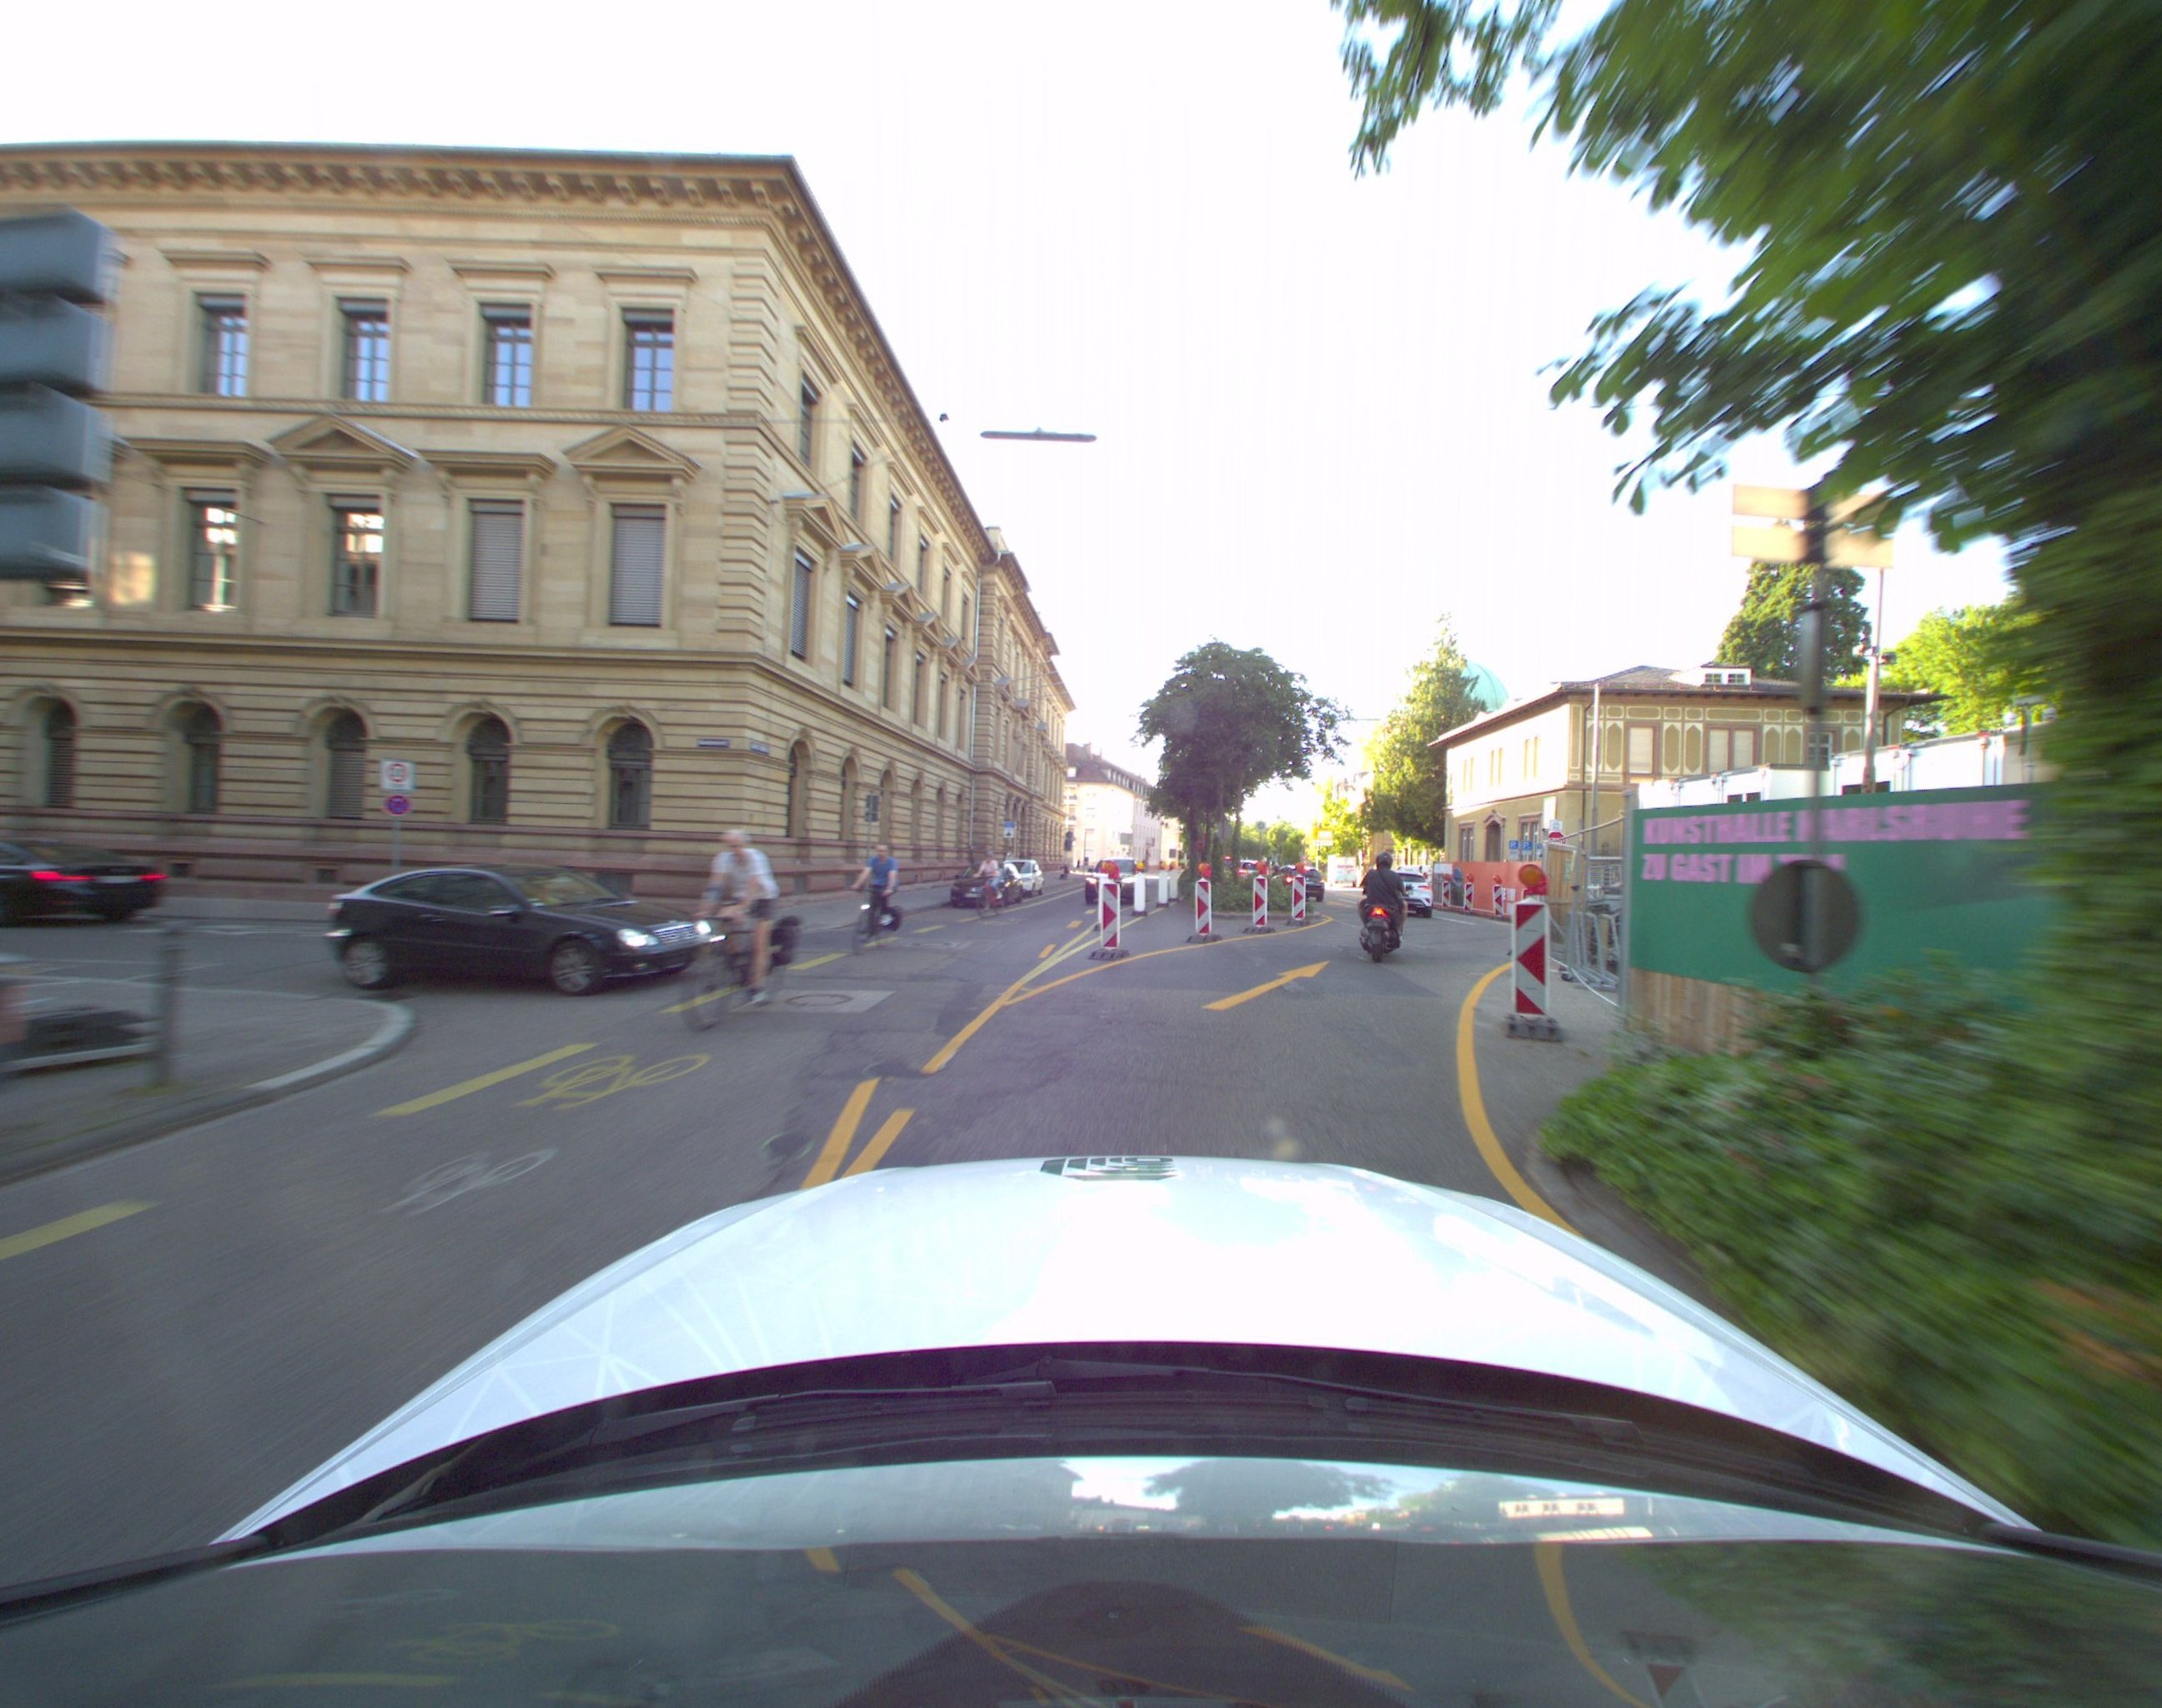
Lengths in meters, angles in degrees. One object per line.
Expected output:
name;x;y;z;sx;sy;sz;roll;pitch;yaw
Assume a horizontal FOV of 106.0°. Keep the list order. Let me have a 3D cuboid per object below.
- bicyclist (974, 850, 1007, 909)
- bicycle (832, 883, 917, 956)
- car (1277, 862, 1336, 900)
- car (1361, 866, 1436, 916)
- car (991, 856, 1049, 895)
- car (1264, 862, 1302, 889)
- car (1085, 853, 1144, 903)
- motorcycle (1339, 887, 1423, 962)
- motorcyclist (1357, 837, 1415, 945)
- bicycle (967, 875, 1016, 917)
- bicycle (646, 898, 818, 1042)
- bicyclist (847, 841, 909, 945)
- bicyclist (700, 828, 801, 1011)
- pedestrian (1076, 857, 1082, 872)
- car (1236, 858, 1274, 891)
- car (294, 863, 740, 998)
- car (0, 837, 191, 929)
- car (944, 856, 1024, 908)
bicyclist;-2.456;0.683;22.168;0.623;1.554;0.735;1;0;17
bicycle;-3.311;1.018;13.238;0.529;1.035;1.913;1;0;12
car;9.787;1.123;35.603;1.831;1.463;4.065;3;0;6
car;10.511;1.158;27.239;1.837;1.480;4.073;0;0;14
car;-2.503;0.872;34.481;1.986;1.528;4.186;1;0;2
car;13.720;1.433;55.428;1.831;1.699;4.063;3;0;5
car;1.230;0.835;30.232;1.986;1.695;4.401;1;0;2
motorcycle;4.783;1.073;12.909;0.789;1.066;1.736;2;-1;35
motorcyclist;4.900;0.578;13.080;0.651;1.650;0.655;2;-1;36
bicycle;-2.419;1.124;22.172;0.529;1.035;2.045;1;0;17
bicycle;-3.182;1.001;7.688;0.580;1.035;2.131;1;0;3
bicyclist;-3.266;0.601;13.158;0.624;1.613;0.872;1;0;12
bicyclist;-3.168;0.598;7.864;0.563;1.667;0.835;1;0;4
pedestrian;-0.192;1.112;87.983;0.663;1.553;0.650;1;0;1
car;10.881;1.272;51.129;1.831;1.912;4.063;3;0;5
car;-6.664;0.830;9.877;4.290;1.390;1.779;1;0;7
car;-18.492;0.454;13.913;4.443;1.461;1.774;1;0;-2
car;-3.132;0.878;27.211;1.986;1.567;4.290;1;0;2
